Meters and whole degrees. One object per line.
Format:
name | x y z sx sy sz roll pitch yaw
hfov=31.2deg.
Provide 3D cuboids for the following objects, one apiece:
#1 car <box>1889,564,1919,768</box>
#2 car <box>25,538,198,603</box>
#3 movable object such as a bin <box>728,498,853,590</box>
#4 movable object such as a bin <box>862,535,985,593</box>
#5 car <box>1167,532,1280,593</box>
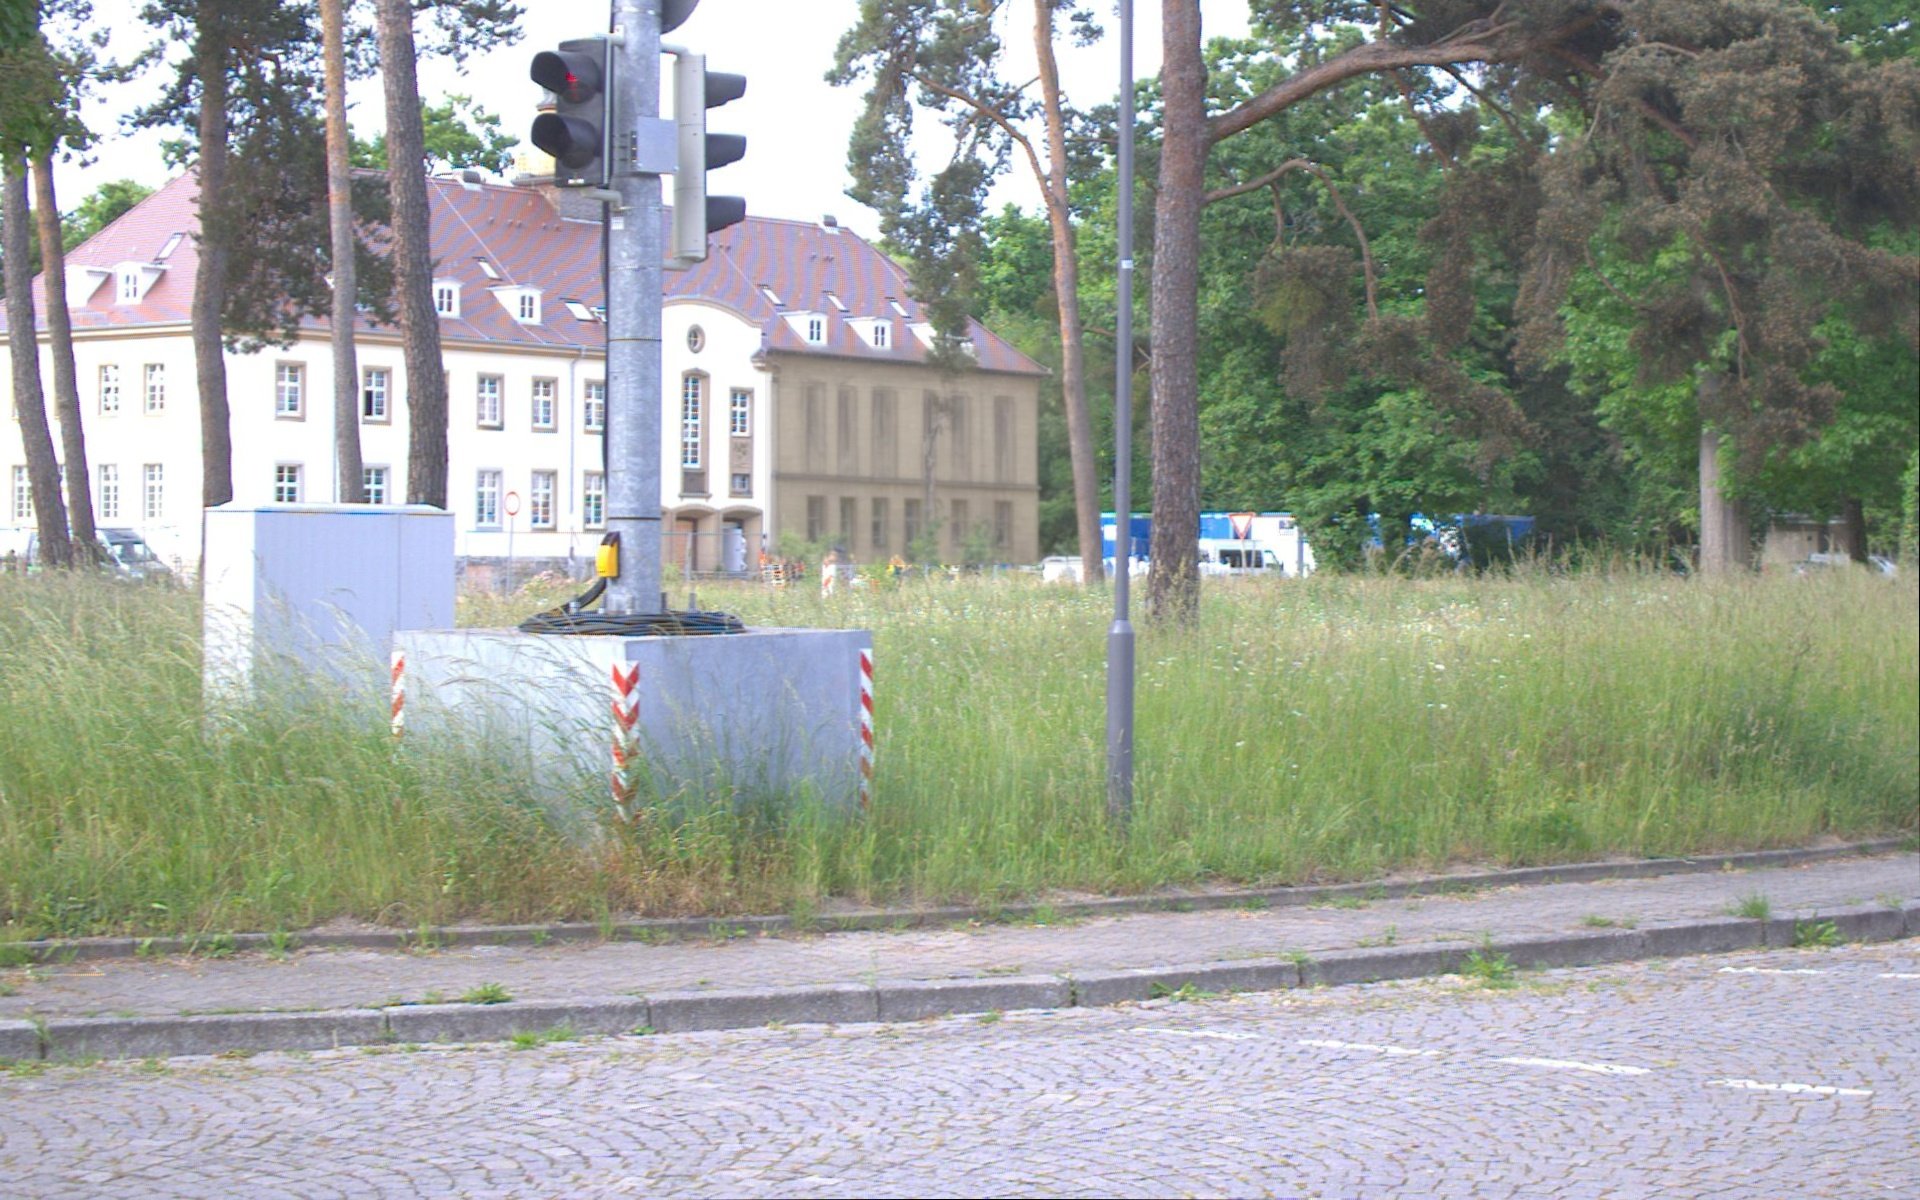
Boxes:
car | 8.974 0.532 24.148 4.339 1.465 1.823 2 1 40
car | -29.707 -1.037 120.305 5.815 2.108 2.366 1 -1 30
movable object such as a bin | -6.938 -2.250 139.863 2.134 3.629 6.135 2 -1 -34
movable object such as a bin | -1.469 -1.445 137.329 4.519 2.246 2.374 1 -1 44
car | 9.725 -1.365 126.497 2.066 2.088 4.335 0 -1 38
